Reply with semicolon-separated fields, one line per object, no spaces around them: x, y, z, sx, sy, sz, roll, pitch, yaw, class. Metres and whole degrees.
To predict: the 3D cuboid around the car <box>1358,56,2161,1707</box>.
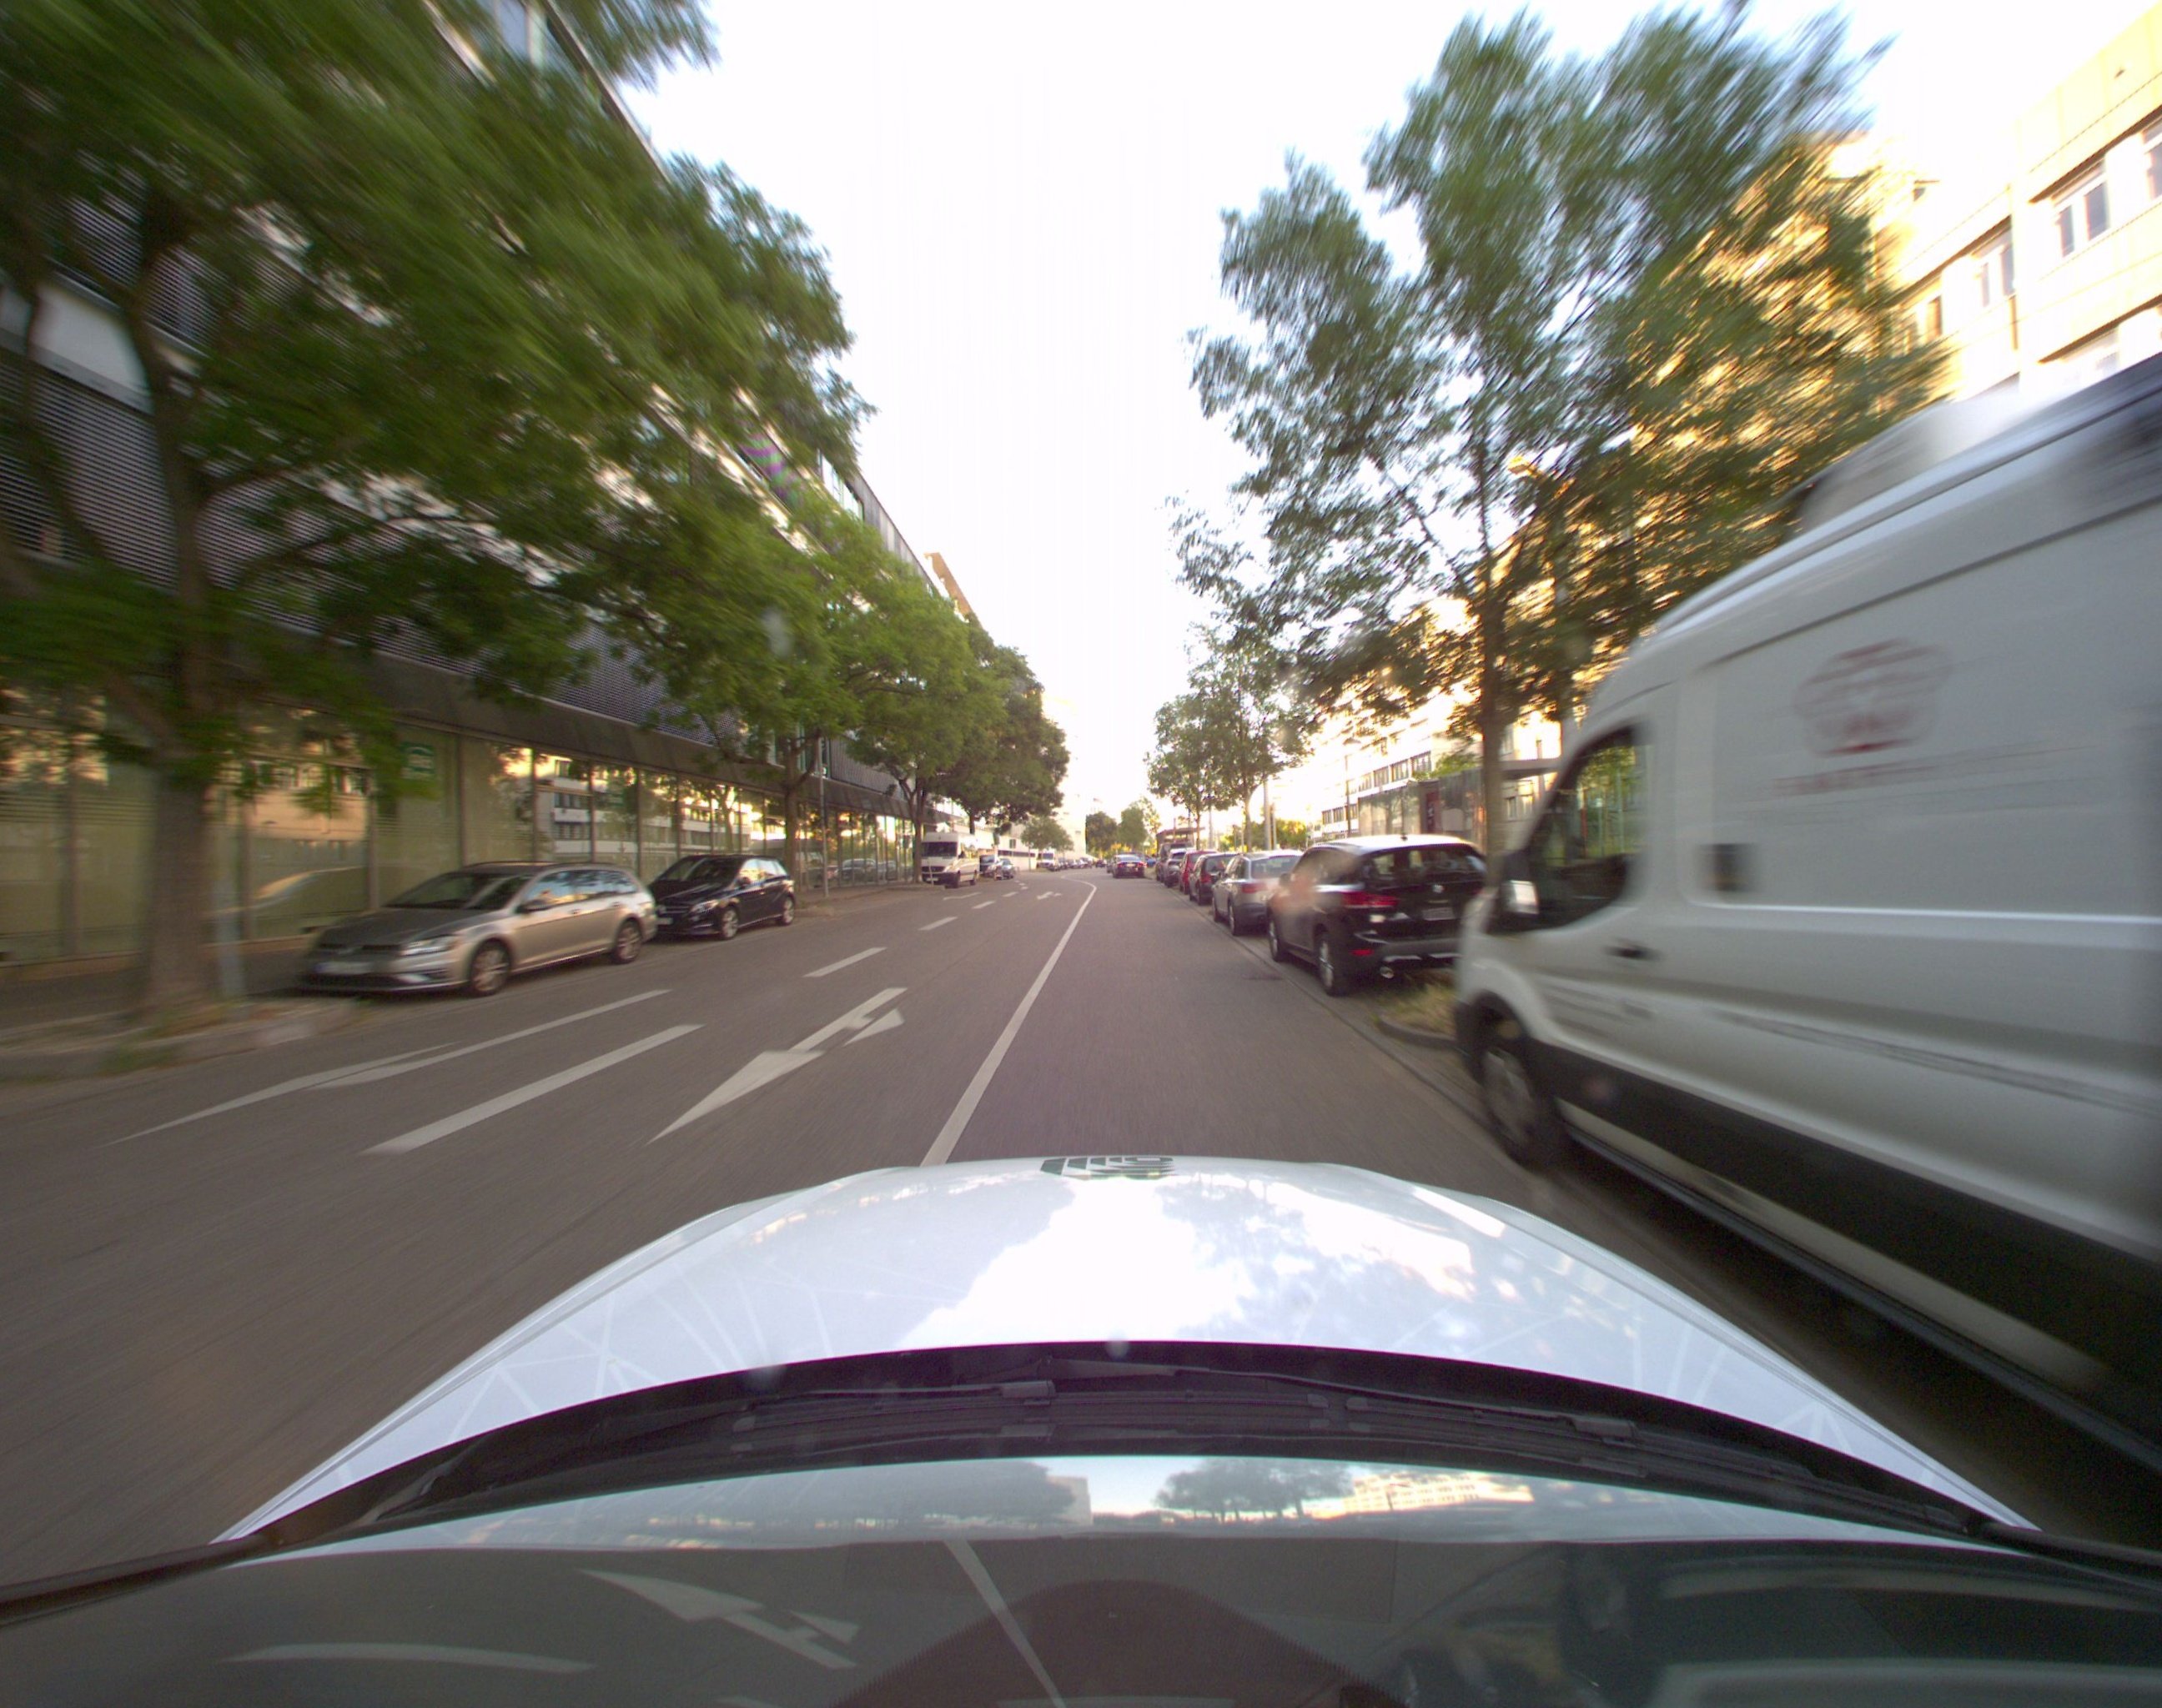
2.736;0.061;2.113;2.044;2.657;5.435;-5;0;1;car

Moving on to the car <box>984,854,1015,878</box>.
-5.428;0.768;54.712;1.710;1.452;4.396;-2;0;-2;car

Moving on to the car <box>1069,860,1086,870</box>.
-0.524;1.742;126.334;1.710;1.457;4.710;0;0;13;car

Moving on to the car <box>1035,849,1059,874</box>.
-3.790;0.812;91.128;1.950;2.617;6.900;0;0;4;car

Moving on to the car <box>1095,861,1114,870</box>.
4.075;1.983;141.504;1.928;1.382;4.421;0;0;20;car

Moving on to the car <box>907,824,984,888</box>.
-6.199;0.090;38.342;2.092;2.663;6.956;-2;0;3;car

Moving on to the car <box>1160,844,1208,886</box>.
4.423;0.454;35.409;1.700;1.580;4.483;-4;0;4;car

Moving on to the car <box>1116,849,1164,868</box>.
5.494;0.382;75.494;4.015;1.520;1.908;-2;-2;-33;car

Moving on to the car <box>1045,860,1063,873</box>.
-3.263;1.452;97.495;1.748;1.439;3.905;0;0;4;car

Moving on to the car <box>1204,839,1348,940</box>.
3.539;0.568;15.682;1.788;1.496;4.785;-5;0;4;car

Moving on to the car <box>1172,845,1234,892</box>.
4.404;0.509;30.006;1.701;1.493;4.132;-4;0;2;car

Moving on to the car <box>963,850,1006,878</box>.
-5.773;0.570;49.078;1.837;1.571;4.270;-2;0;2;car

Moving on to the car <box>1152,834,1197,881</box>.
4.715;0.182;41.627;1.797;2.176;4.737;-4;0;2;car

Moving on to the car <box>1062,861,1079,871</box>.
-1.547;1.769;120.772;1.712;1.457;4.282;0;0;9;car

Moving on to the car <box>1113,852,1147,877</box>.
3.045;0.620;51.625;1.782;1.452;4.514;-2;0;-1;car

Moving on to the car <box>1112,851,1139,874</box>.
3.104;0.587;57.492;1.671;1.452;4.186;-2;0;0;car

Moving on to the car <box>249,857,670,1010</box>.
-7.392;0.807;10.468;1.696;1.461;4.629;1;0;2;car

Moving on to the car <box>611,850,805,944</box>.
-7.113;0.724;16.094;1.583;1.568;4.474;1;0;2;car

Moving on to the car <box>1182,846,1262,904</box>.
4.037;0.576;23.880;1.701;1.451;4.001;-4;0;2;car

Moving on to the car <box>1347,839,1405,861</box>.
23.699;-0.311;65.554;3.971;1.487;1.676;-4;-1;3;car

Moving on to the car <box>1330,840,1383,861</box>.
23.783;-0.305;70.333;3.971;1.487;1.676;-4;-1;3;car

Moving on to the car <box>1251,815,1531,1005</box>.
3.300;0.526;9.638;1.701;1.643;4.268;-4;0;2;car
